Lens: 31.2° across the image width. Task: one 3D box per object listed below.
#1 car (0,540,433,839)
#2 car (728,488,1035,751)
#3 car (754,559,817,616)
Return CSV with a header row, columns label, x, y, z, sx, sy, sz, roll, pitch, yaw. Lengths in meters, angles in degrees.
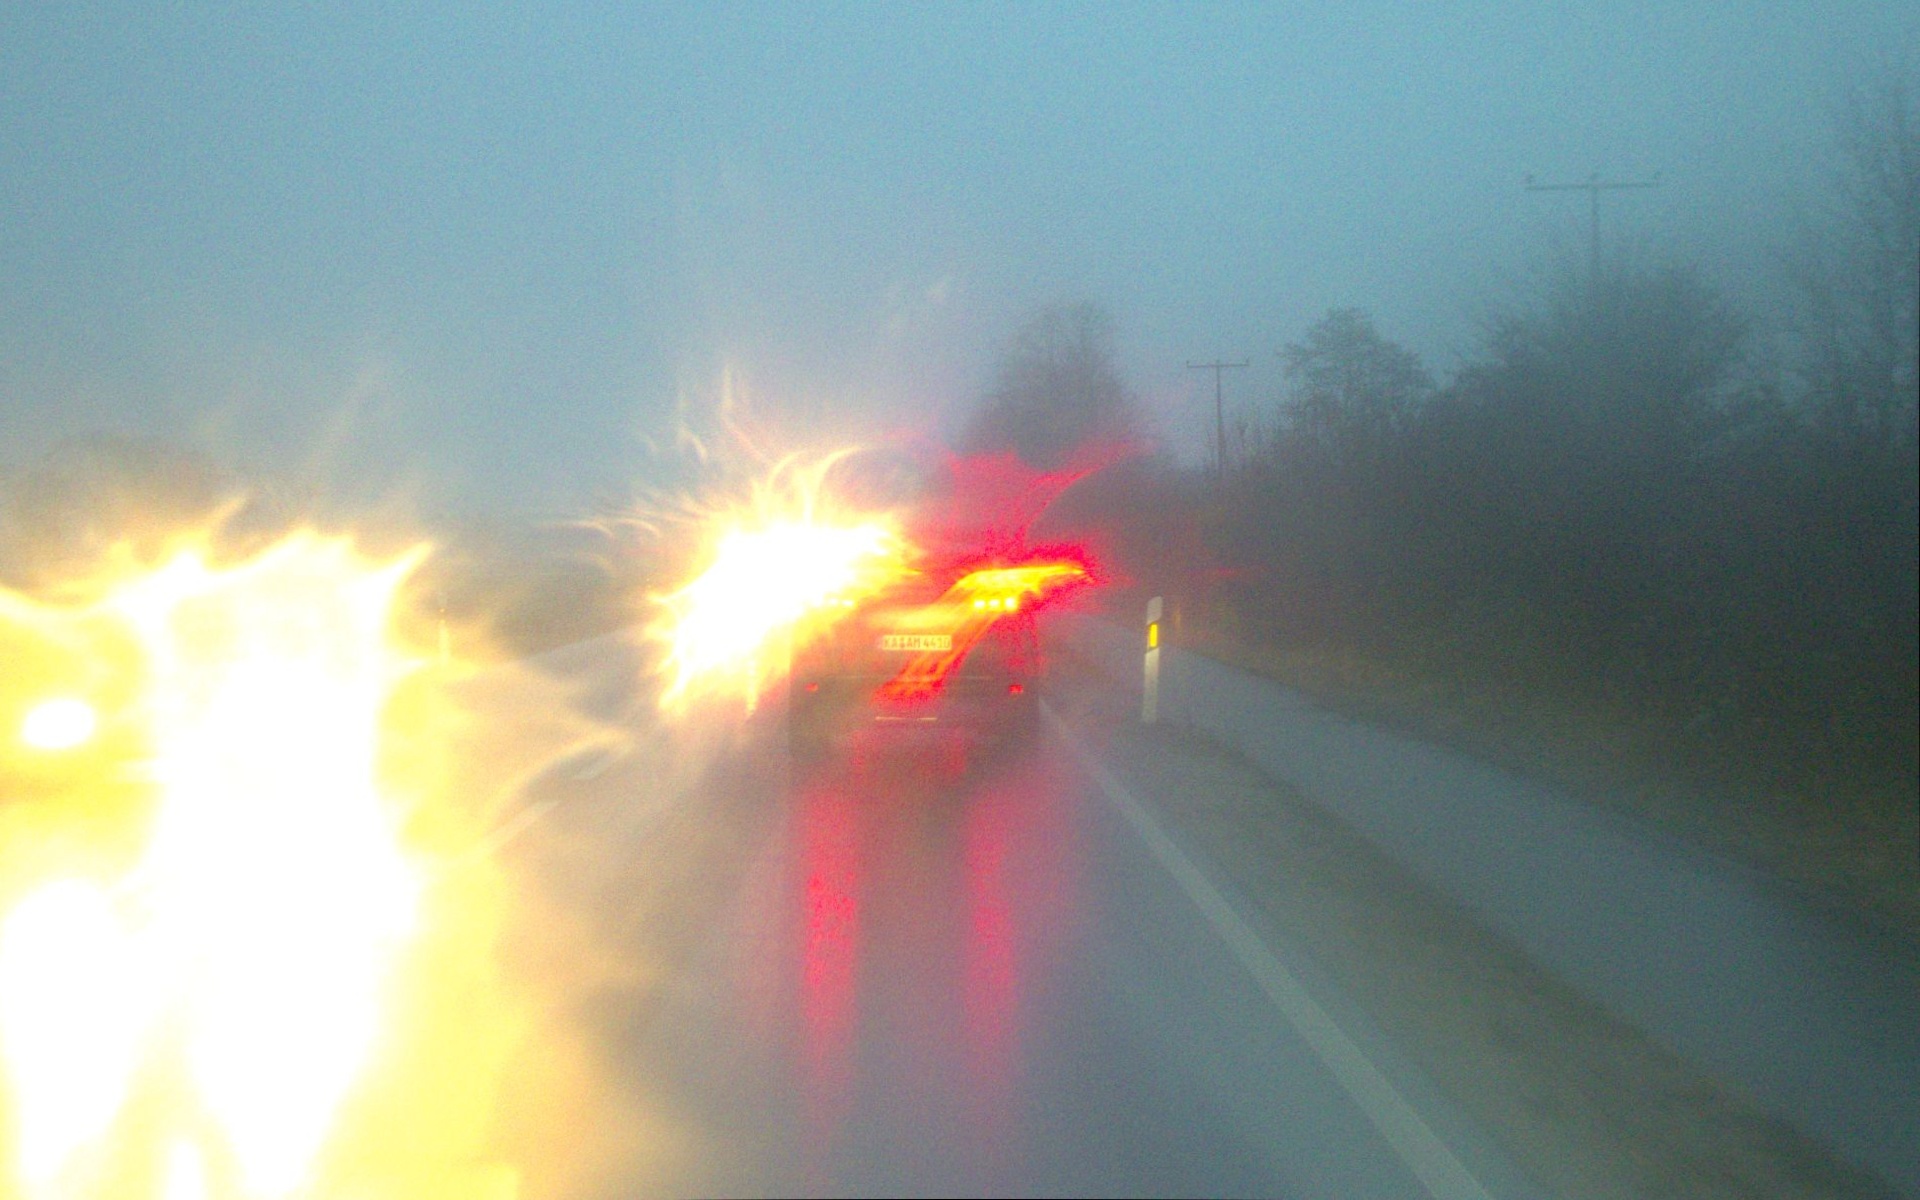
label,x,y,z,sx,sy,sz,roll,pitch,yaw
car,-4.108,0.423,19.350,1.688,1.474,3.774,-1,1,0
car,-0.566,0.126,26.233,2.120,1.814,4.980,0,0,-1
car,-5.399,-0.415,106.655,1.795,1.680,4.187,-1,1,-2
